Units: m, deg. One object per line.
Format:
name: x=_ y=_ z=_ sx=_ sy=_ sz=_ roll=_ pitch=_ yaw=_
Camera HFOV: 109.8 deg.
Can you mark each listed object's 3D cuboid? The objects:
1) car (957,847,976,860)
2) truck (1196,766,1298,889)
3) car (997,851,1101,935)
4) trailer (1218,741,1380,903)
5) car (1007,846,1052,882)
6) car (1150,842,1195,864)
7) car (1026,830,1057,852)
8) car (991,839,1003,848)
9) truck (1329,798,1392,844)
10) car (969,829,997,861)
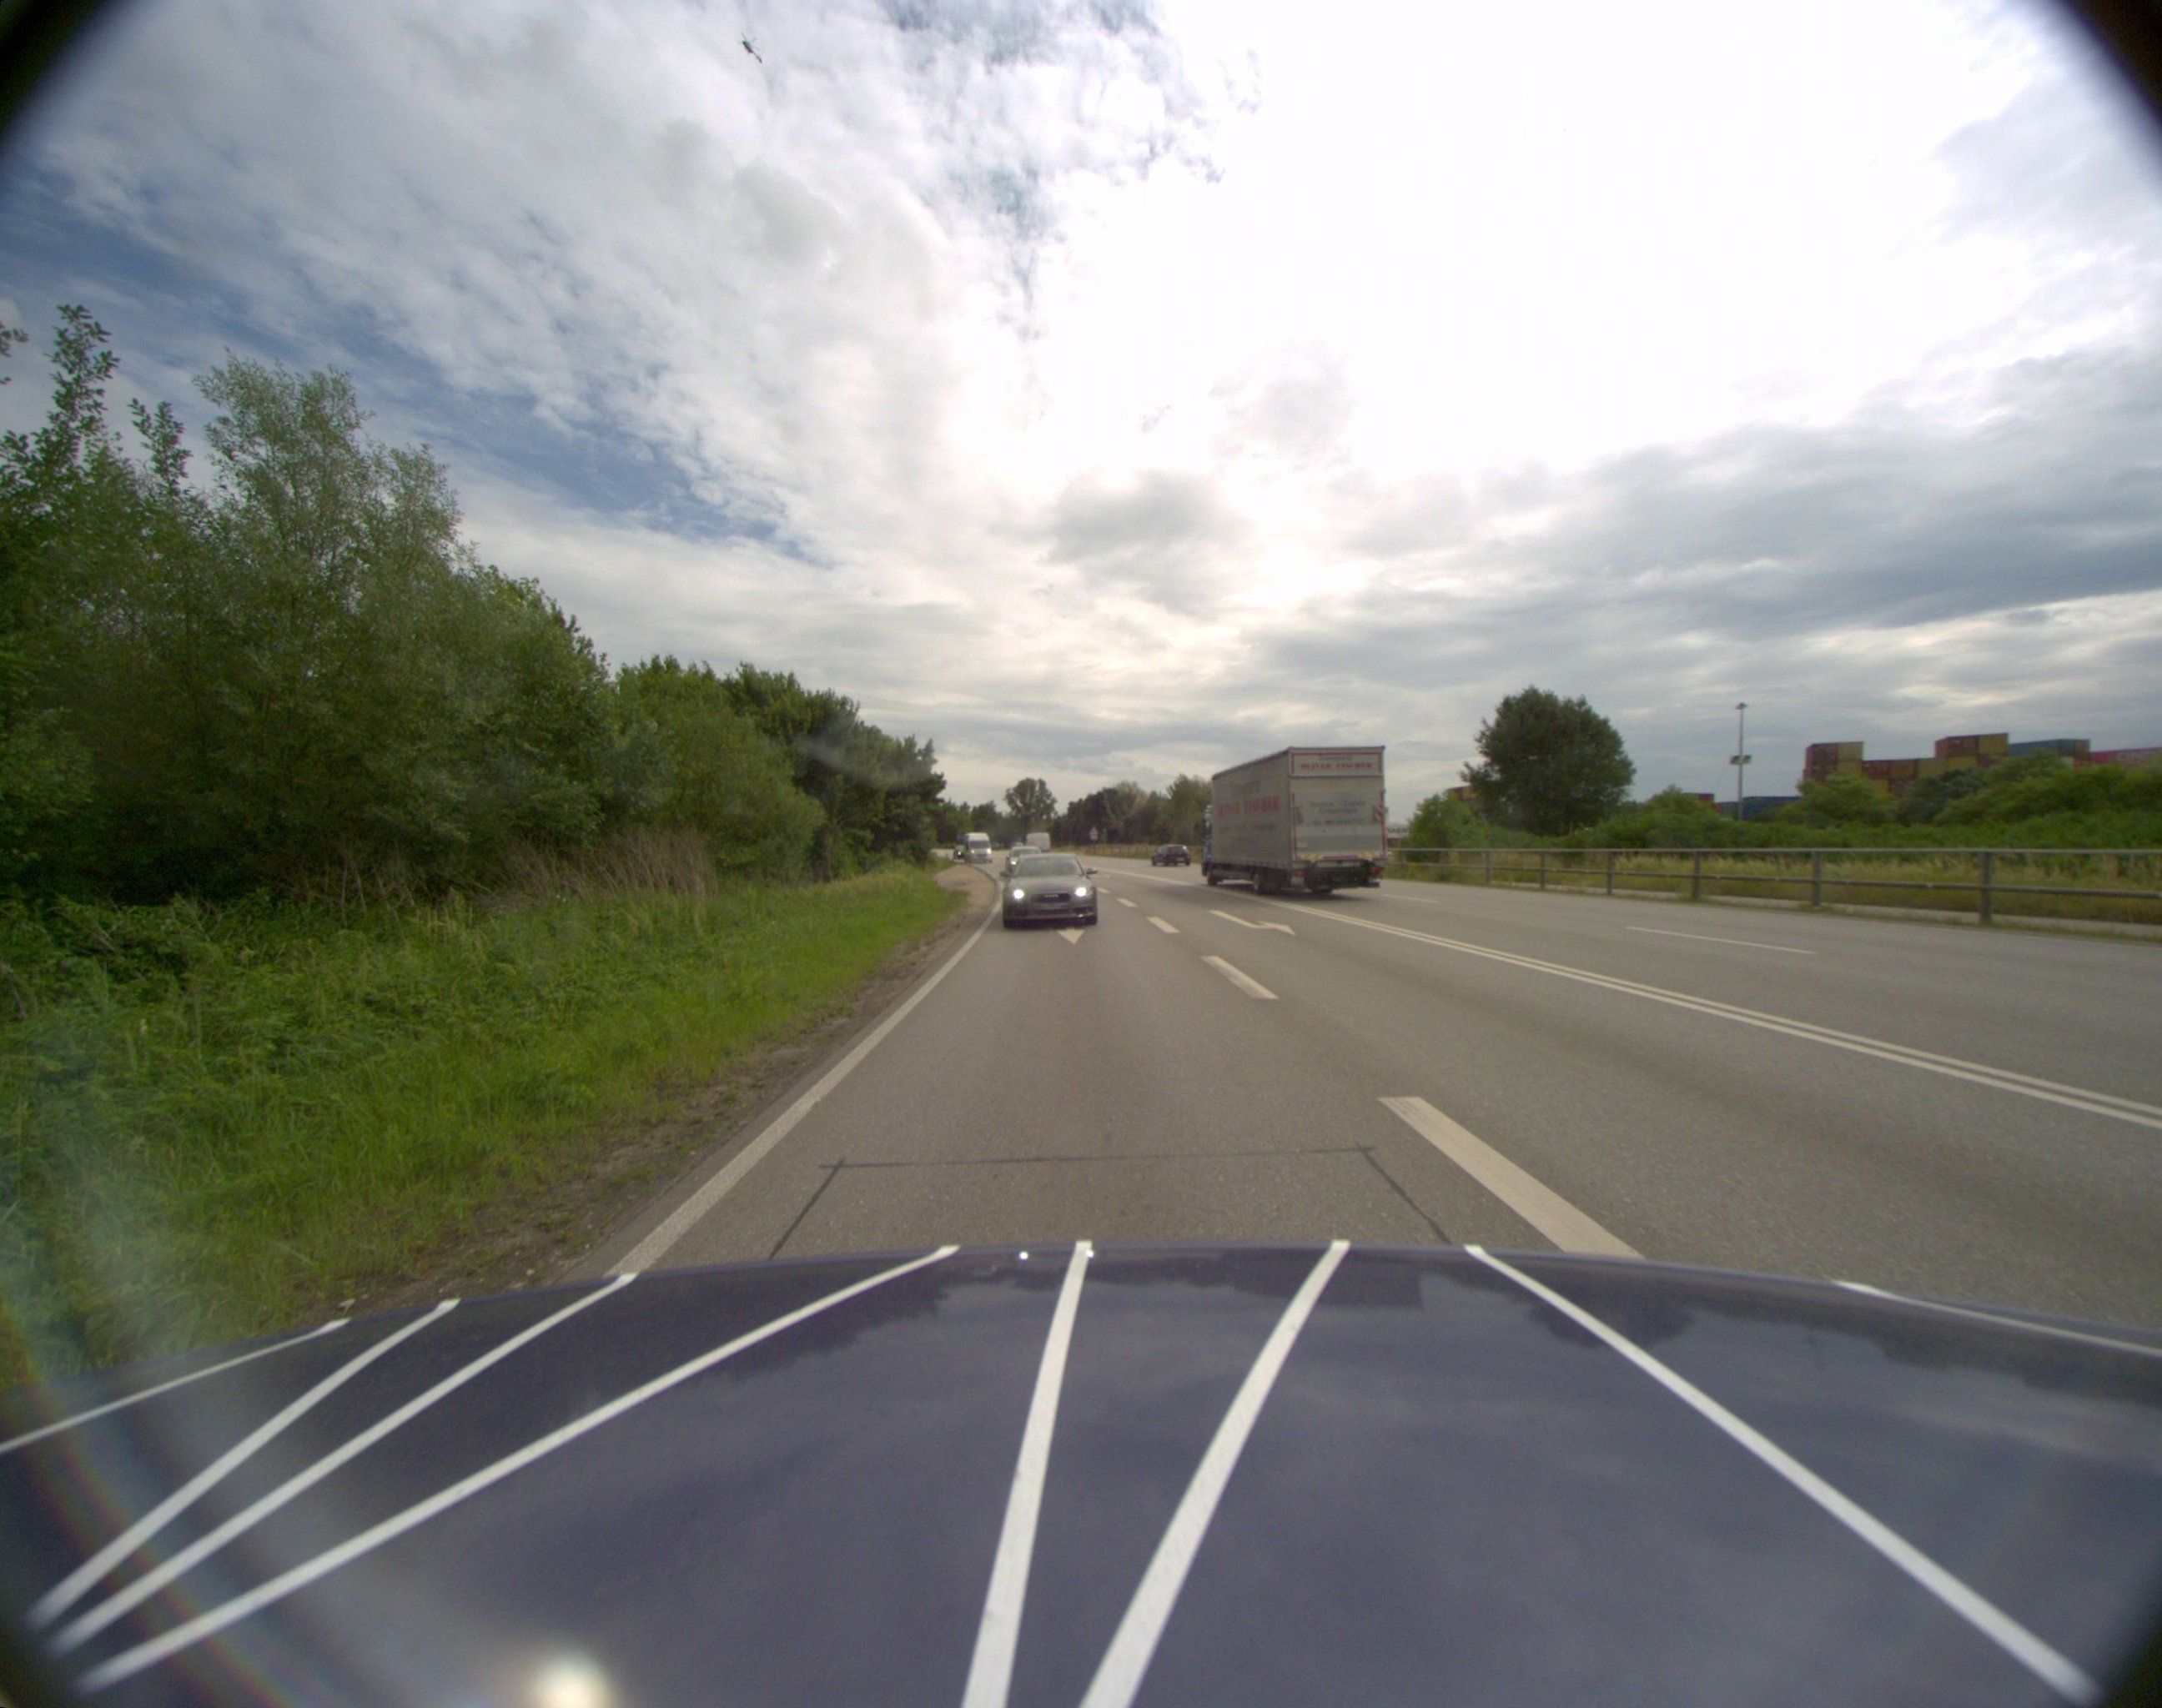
car: x=-12.367 y=-0.038 z=81.724 sx=1.732 sy=1.357 sz=3.995 roll=0 pitch=1 yaw=-13
truck: x=5.849 y=-0.916 z=27.346 sx=2.547 sy=4.073 sz=3.998 roll=-1 pitch=1 yaw=-3
car: x=-0.783 y=0.725 z=16.543 sx=1.958 sy=1.527 sz=3.997 roll=-2 pitch=1 yaw=-5
trailer: x=6.147 y=-0.854 z=22.641 sx=2.534 sy=4.077 sz=6.732 roll=-1 pitch=1 yaw=-3
car: x=-2.641 y=0.433 z=38.181 sx=2.021 sy=1.604 sz=4.277 roll=-2 pitch=2 yaw=-6
car: x=6.195 y=-0.079 z=51.768 sx=1.953 sy=1.433 sz=3.995 roll=-1 pitch=1 yaw=-10
car: x=-5.046 y=-1.658 z=95.780 sx=2.443 sy=2.659 sz=6.877 roll=-2 pitch=1 yaw=-16
car: x=-14.651 y=-1.862 z=132.967 sx=1.814 sy=1.433 sz=4.348 roll=-2 pitch=1 yaw=-10
truck: x=31.723 y=-3.684 z=86.392 sx=2.809 sy=4.969 sz=6.173 roll=-3 pitch=3 yaw=-37
car: x=-8.962 y=-0.834 z=69.144 sx=2.221 sy=2.655 sz=5.234 roll=-3 pitch=1 yaw=-9
